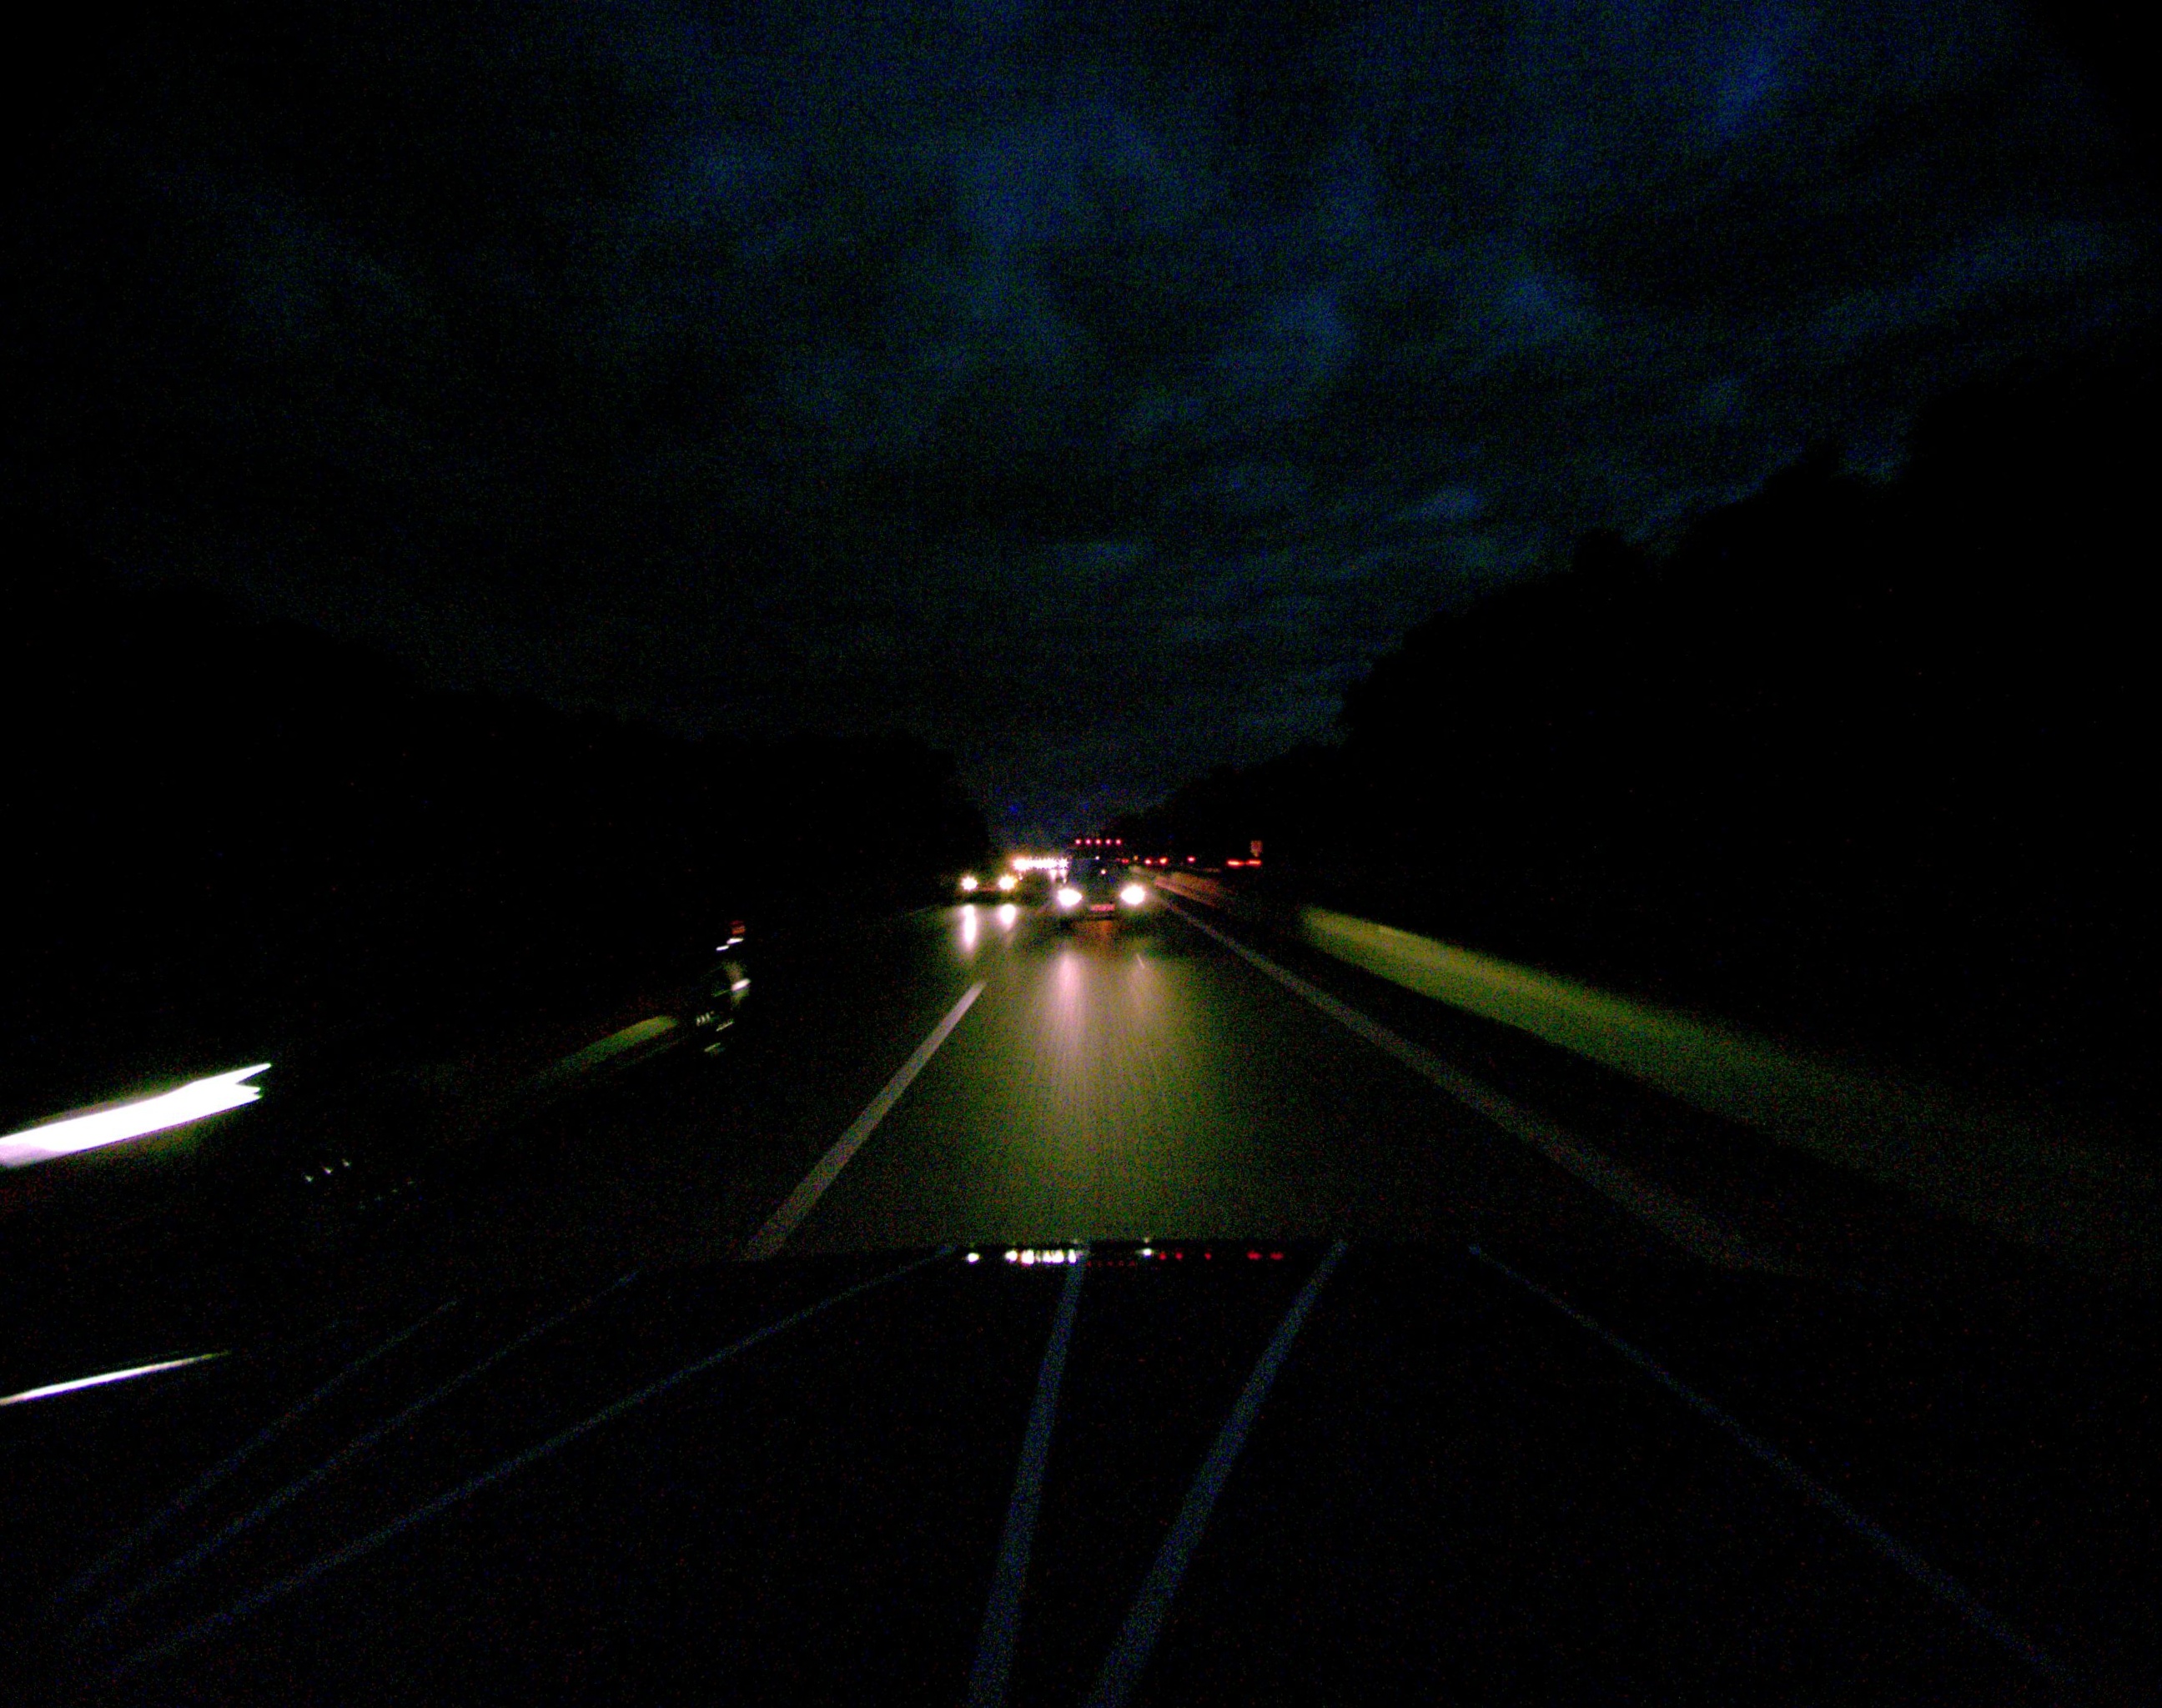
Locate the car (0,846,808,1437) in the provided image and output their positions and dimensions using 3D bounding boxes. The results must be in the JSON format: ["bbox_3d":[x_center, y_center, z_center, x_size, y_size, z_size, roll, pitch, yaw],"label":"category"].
[{"bbox_3d":[-3.728,0.954,4.940,1.908,1.635,5.049,-5,3,0],"label":"car"}]

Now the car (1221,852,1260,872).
[{"bbox_3d":[11.545,0.546,55.272,1.781,1.393,4.939,-2,0,0],"label":"car"}]

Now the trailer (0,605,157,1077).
[{"bbox_3d":[-10.866,-0.070,2.429,2.914,4.076,10.357,-1,0,1],"label":"trailer"}]

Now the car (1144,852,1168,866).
[{"bbox_3d":[7.514,0.480,76.465,1.998,1.393,4.687,-2,0,0],"label":"car"}]

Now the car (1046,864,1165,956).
[{"bbox_3d":[0.466,0.922,14.388,1.879,1.435,4.452,-1,-1,2],"label":"car"}]

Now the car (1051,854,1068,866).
[{"bbox_3d":[-2.987,0.881,104.268,1.999,1.539,3.999,-1,-2,-6],"label":"car"}]

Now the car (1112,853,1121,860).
[{"bbox_3d":[8.984,0.521,191.933,1.998,1.629,5.111,-2,0,2],"label":"car"}]

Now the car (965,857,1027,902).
[{"bbox_3d":[-3.260,0.927,30.089,1.914,1.528,5.230,-1,1,-1],"label":"car"}]

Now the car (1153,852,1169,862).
[{"bbox_3d":[11.649,0.394,110.576,1.759,1.420,5.363,-2,0,0],"label":"car"}]

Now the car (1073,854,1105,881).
[{"bbox_3d":[0.548,0.772,47.117,1.813,1.458,5.131,-1,1,2],"label":"car"}]

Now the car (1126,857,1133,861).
[{"bbox_3d":[17.021,1.760,265.786,1.847,1.454,3.999,-3,-1,-3],"label":"car"}]
